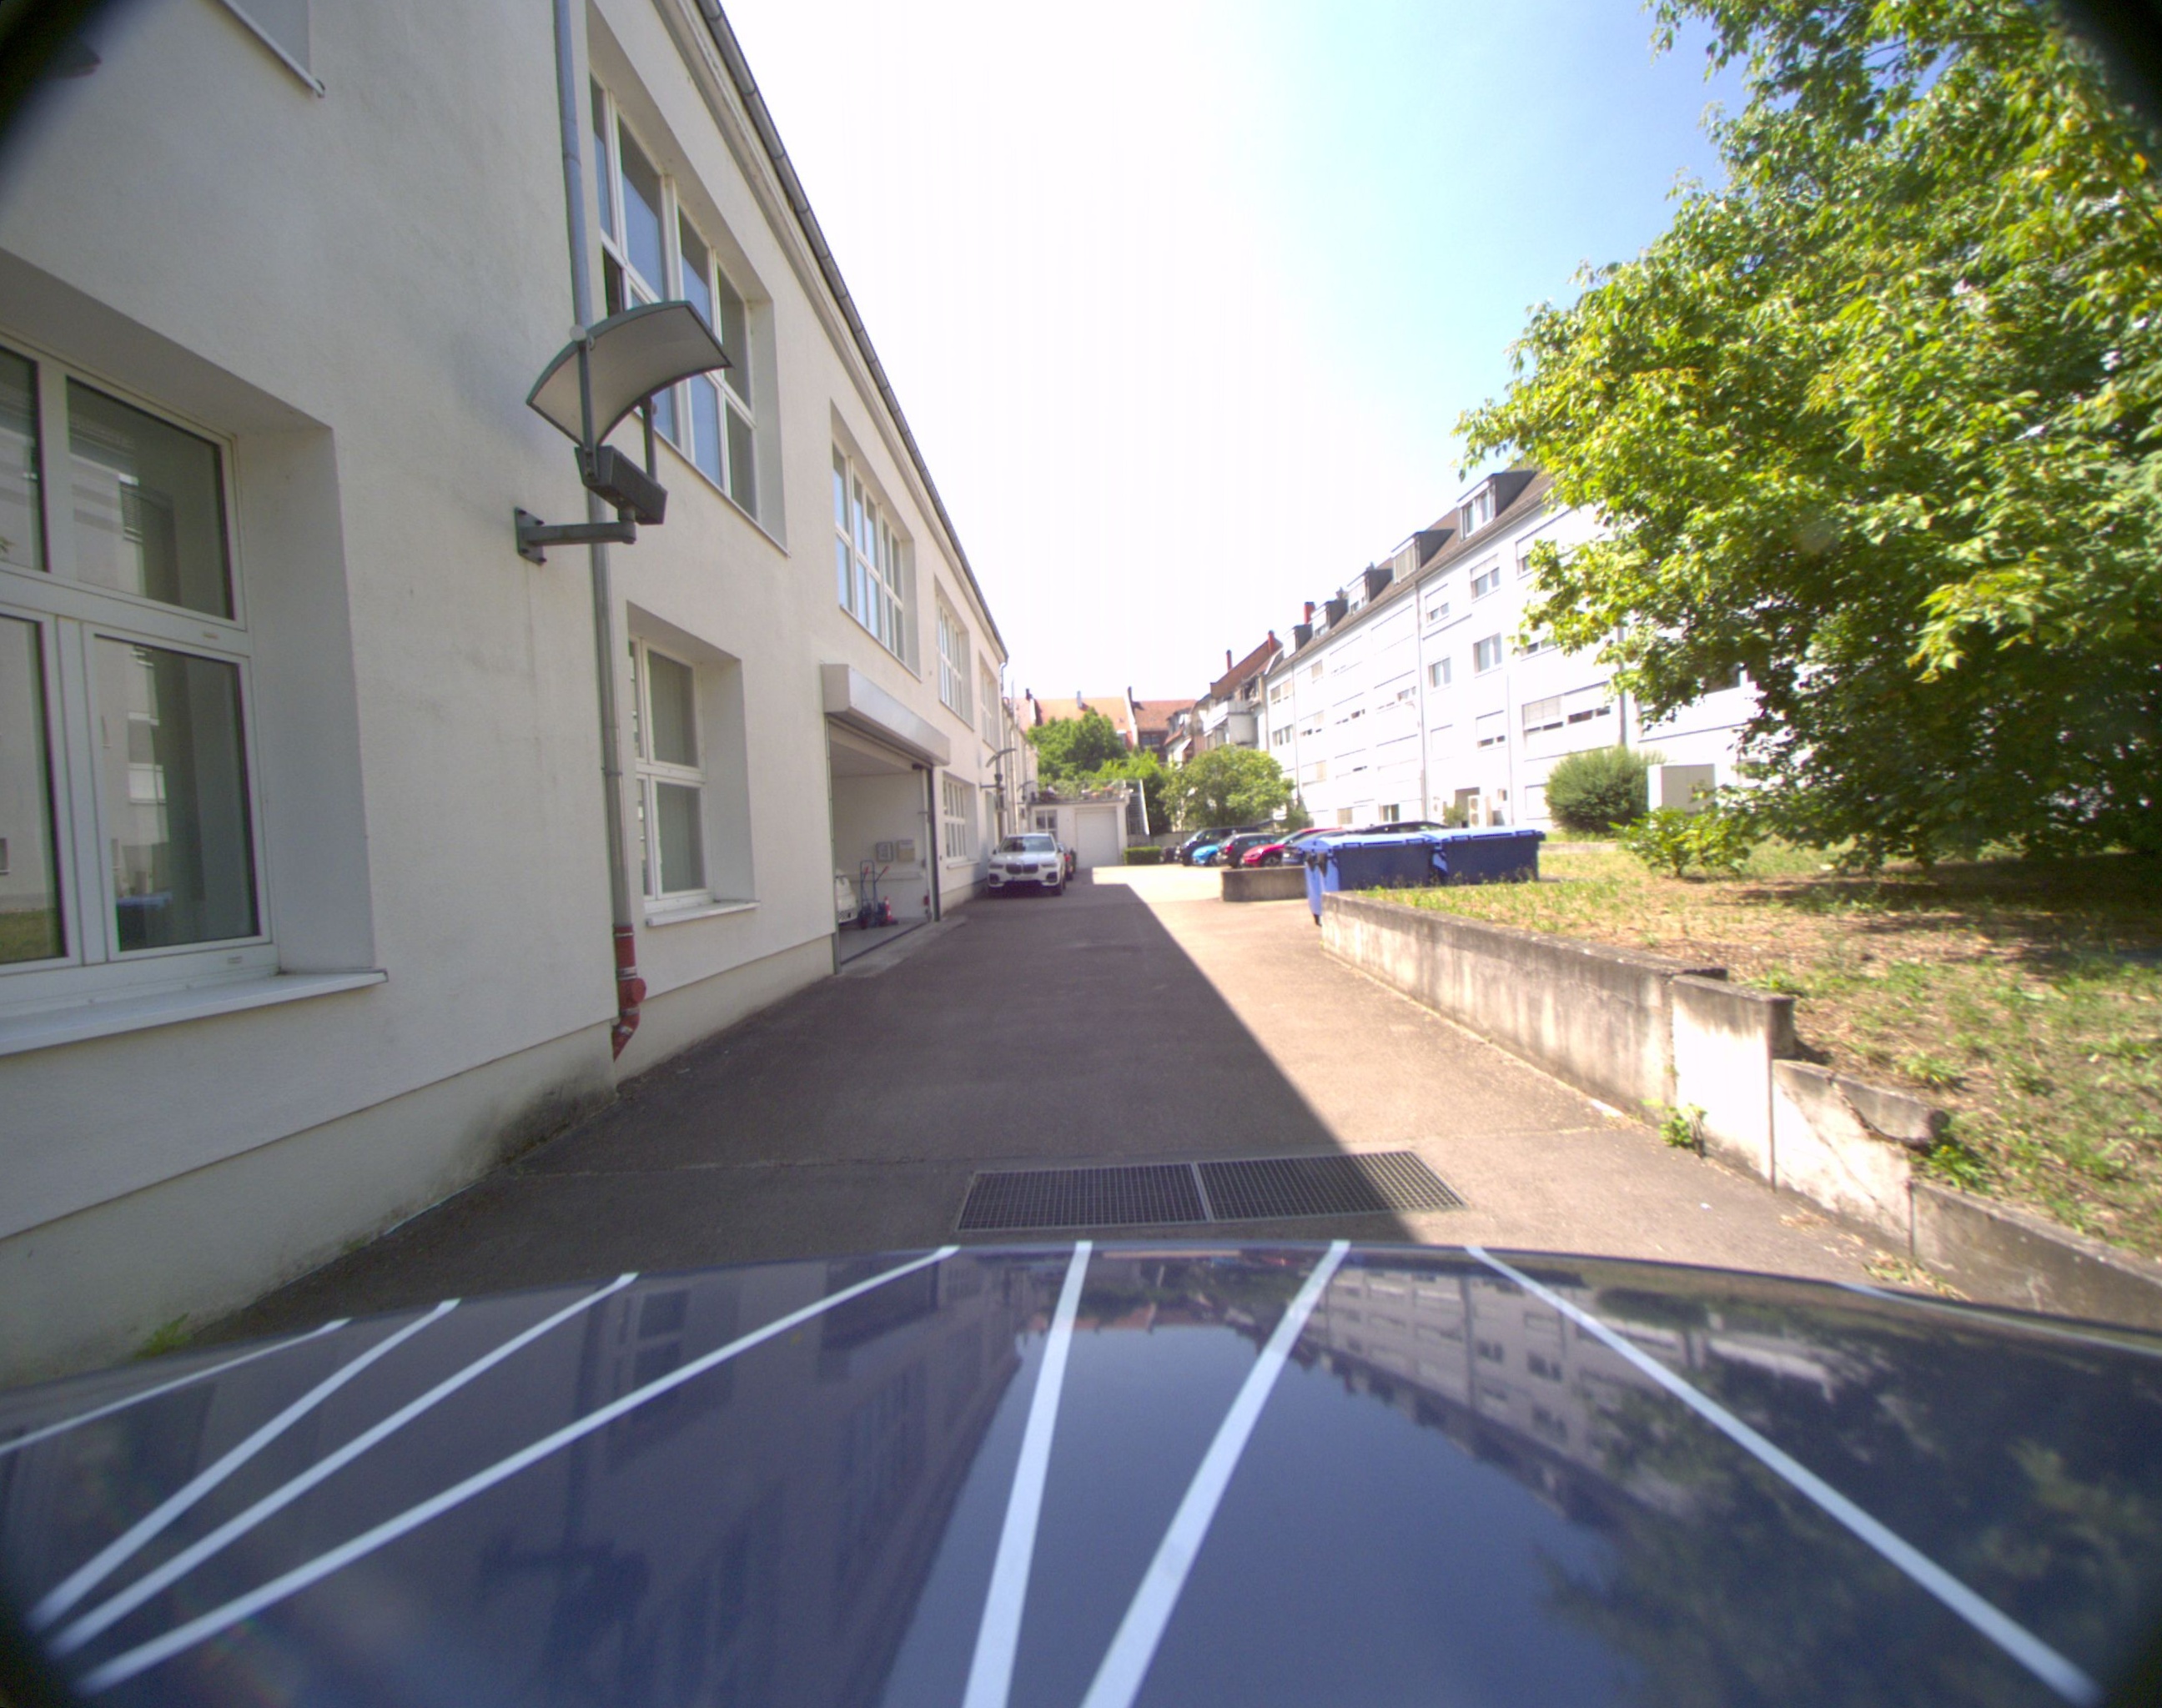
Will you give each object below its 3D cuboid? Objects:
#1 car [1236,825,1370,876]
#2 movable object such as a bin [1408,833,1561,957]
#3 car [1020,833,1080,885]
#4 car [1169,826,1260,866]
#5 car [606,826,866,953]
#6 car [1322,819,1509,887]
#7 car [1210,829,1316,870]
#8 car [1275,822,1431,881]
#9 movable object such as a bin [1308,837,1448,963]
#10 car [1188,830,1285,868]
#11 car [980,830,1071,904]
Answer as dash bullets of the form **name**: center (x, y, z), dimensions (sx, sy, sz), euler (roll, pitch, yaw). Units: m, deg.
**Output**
- **car**: center (7.812, -0.148, 26.938), dimensions (4.223, 1.560, 1.612), euler (-3, 2, -4)
- **movable object such as a bin**: center (4.892, 0.460, 9.309), dimensions (1.271, 1.381, 1.095), euler (-3, 2, 2)
- **car**: center (-1.162, 0.115, 30.489), dimensions (2.011, 1.793, 4.726), euler (-3, 2, 2)
- **car**: center (6.895, -0.452, 39.566), dimensions (4.223, 1.813, 2.008), euler (-3, 2, -4)
- **car**: center (-6.111, 0.592, 13.719), dimensions (3.836, 2.002, 1.654), euler (-3, 2, 5)
- **car**: center (9.121, -0.055, 20.899), dimensions (4.444, 1.560, 1.612), euler (-3, 2, -4)
- **car**: center (7.999, -0.209, 33.553), dimensions (4.223, 1.560, 1.612), euler (-3, 2, -4)
- **car**: center (8.394, -0.106, 23.620), dimensions (4.223, 1.560, 1.612), euler (-3, 2, -4)
- **movable object such as a bin**: center (3.594, 0.523, 9.315), dimensions (1.271, 1.381, 1.095), euler (-3, 2, 2)
- **car**: center (7.456, -0.260, 36.623), dimensions (4.223, 1.560, 1.612), euler (-3, 2, -4)
- **car**: center (-1.444, 0.252, 21.691), dimensions (2.011, 1.793, 4.726), euler (-3, 2, 2)
